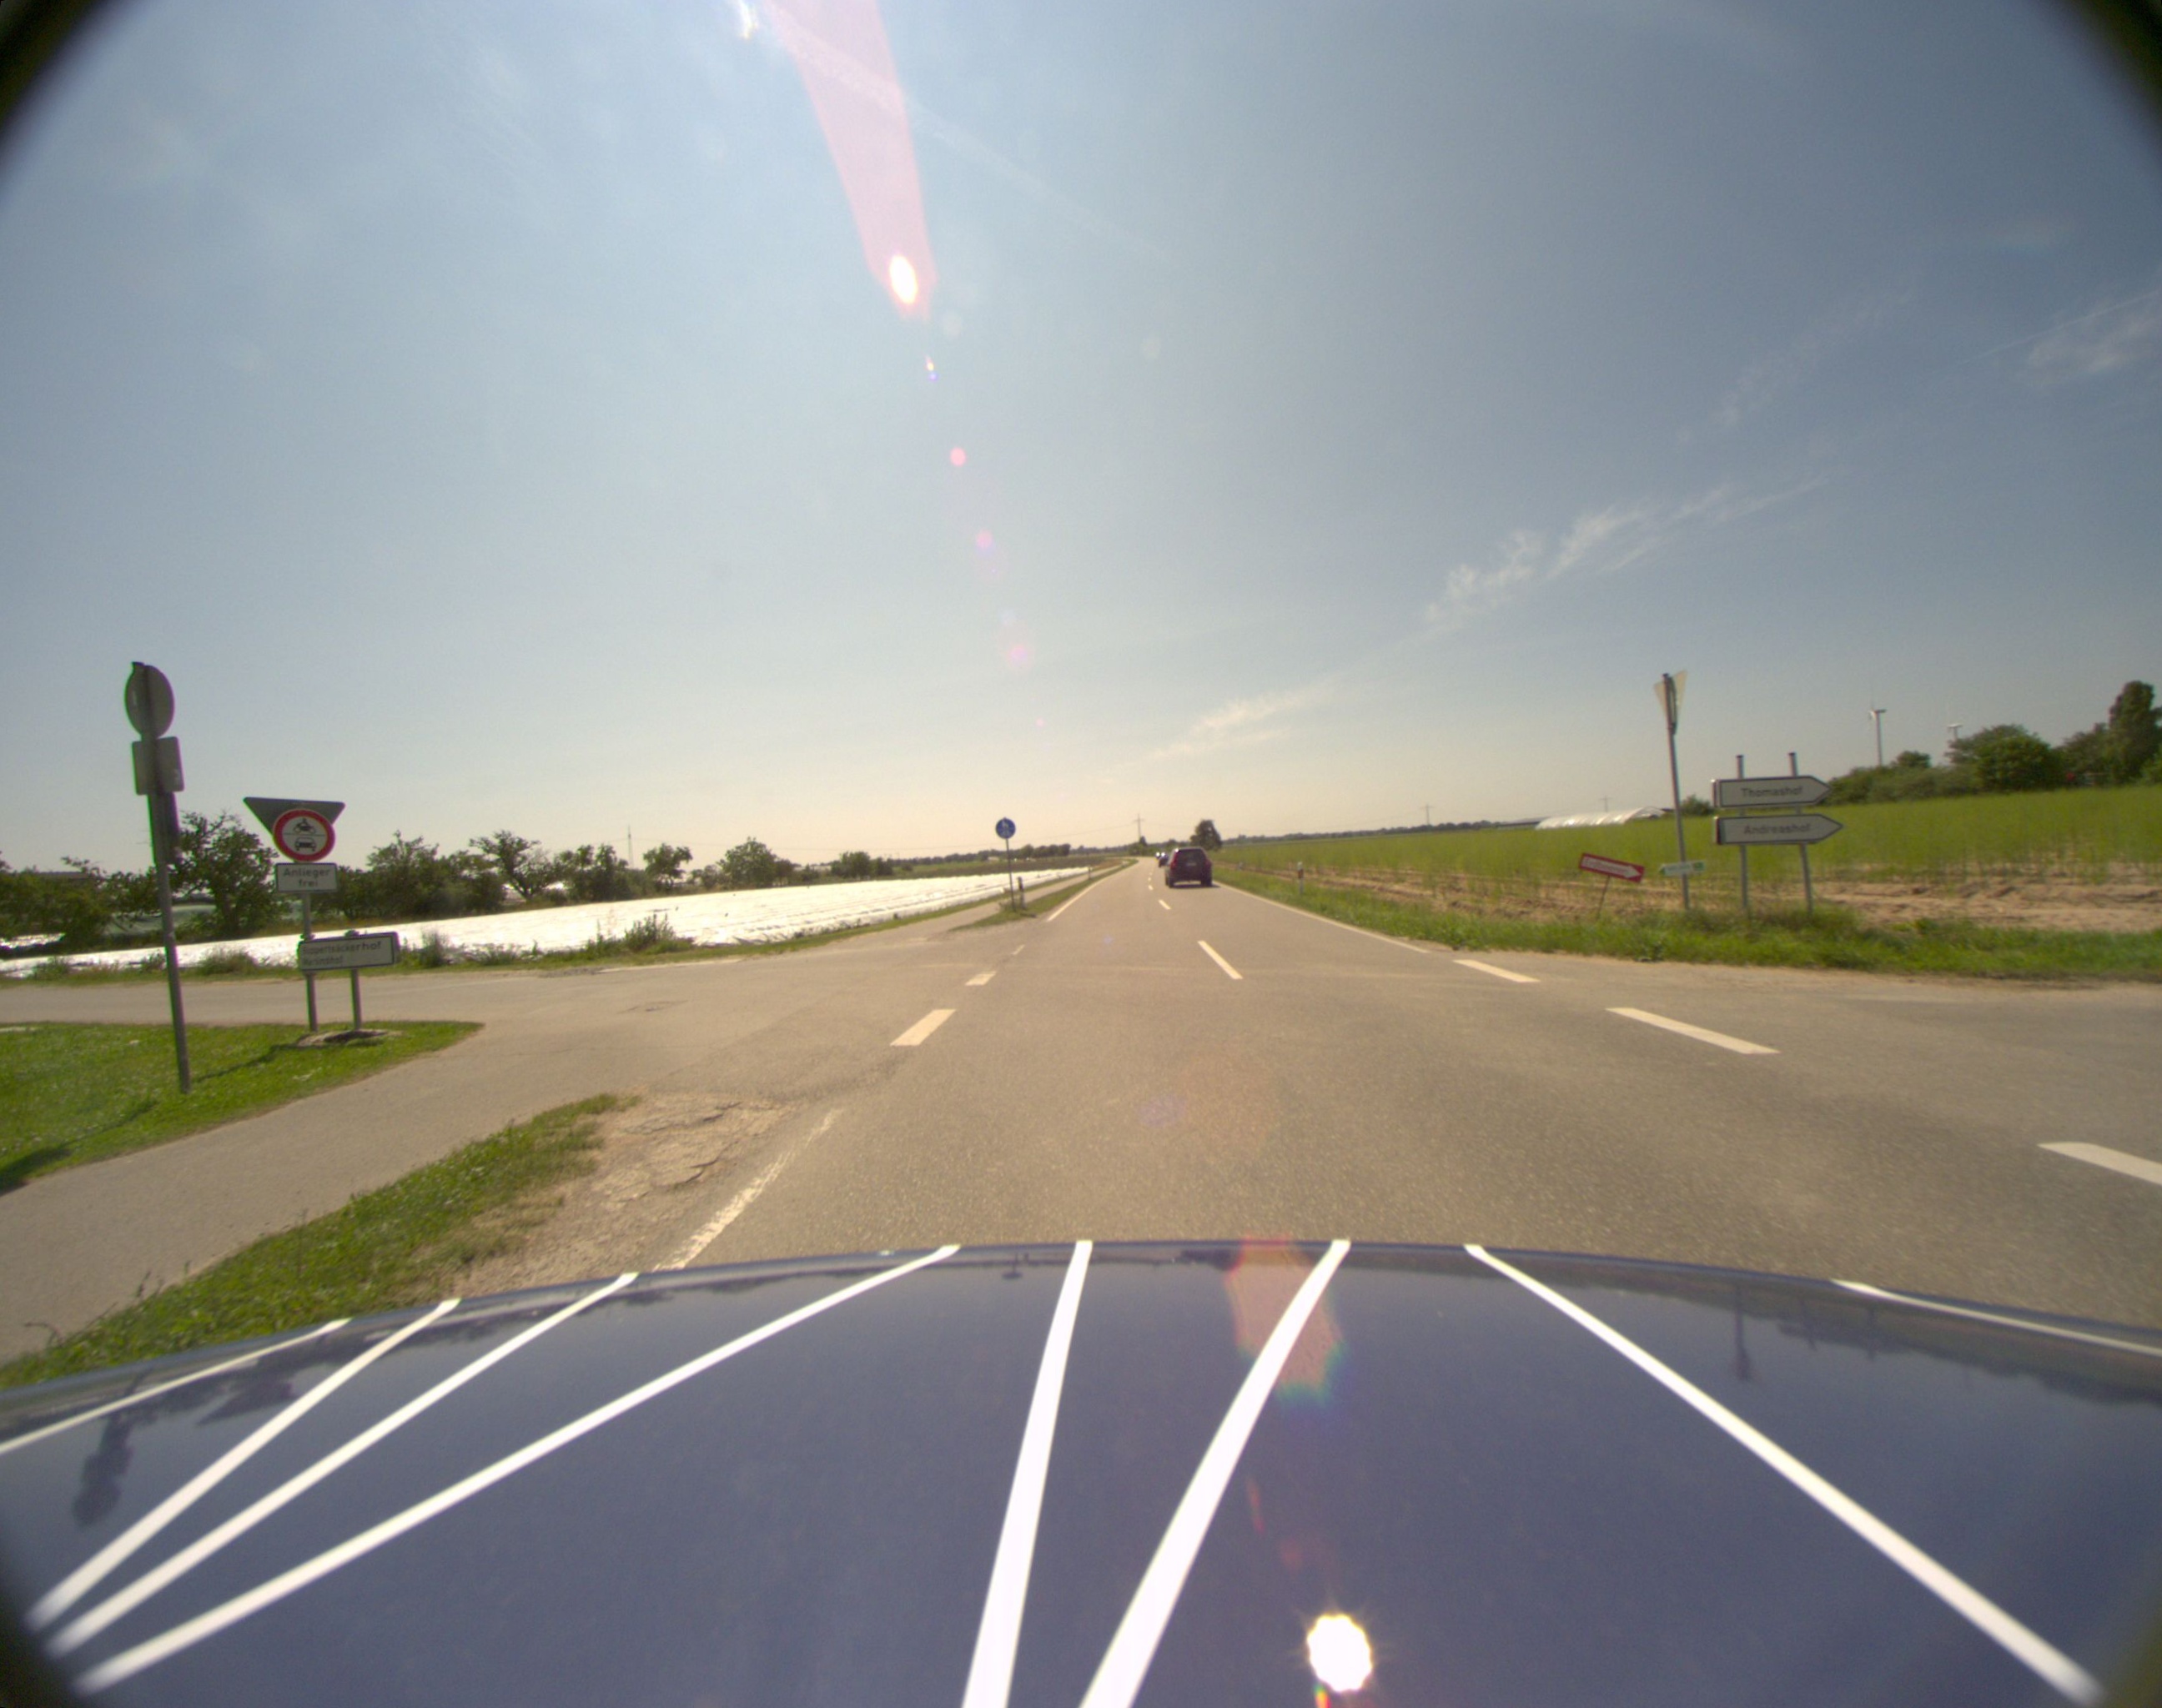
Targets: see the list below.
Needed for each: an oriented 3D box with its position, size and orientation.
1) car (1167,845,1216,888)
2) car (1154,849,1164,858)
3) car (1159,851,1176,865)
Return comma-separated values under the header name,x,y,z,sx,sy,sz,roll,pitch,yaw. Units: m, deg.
name,x,y,z,sx,sy,sz,roll,pitch,yaw
car,4.925,0.491,34.543,1.937,1.741,5.206,-2,0,6
car,18.046,-0.142,175.891,1.998,2.002,4.001,-3,1,5
car,9.153,0.403,80.683,1.745,1.349,4.420,-3,0,5
